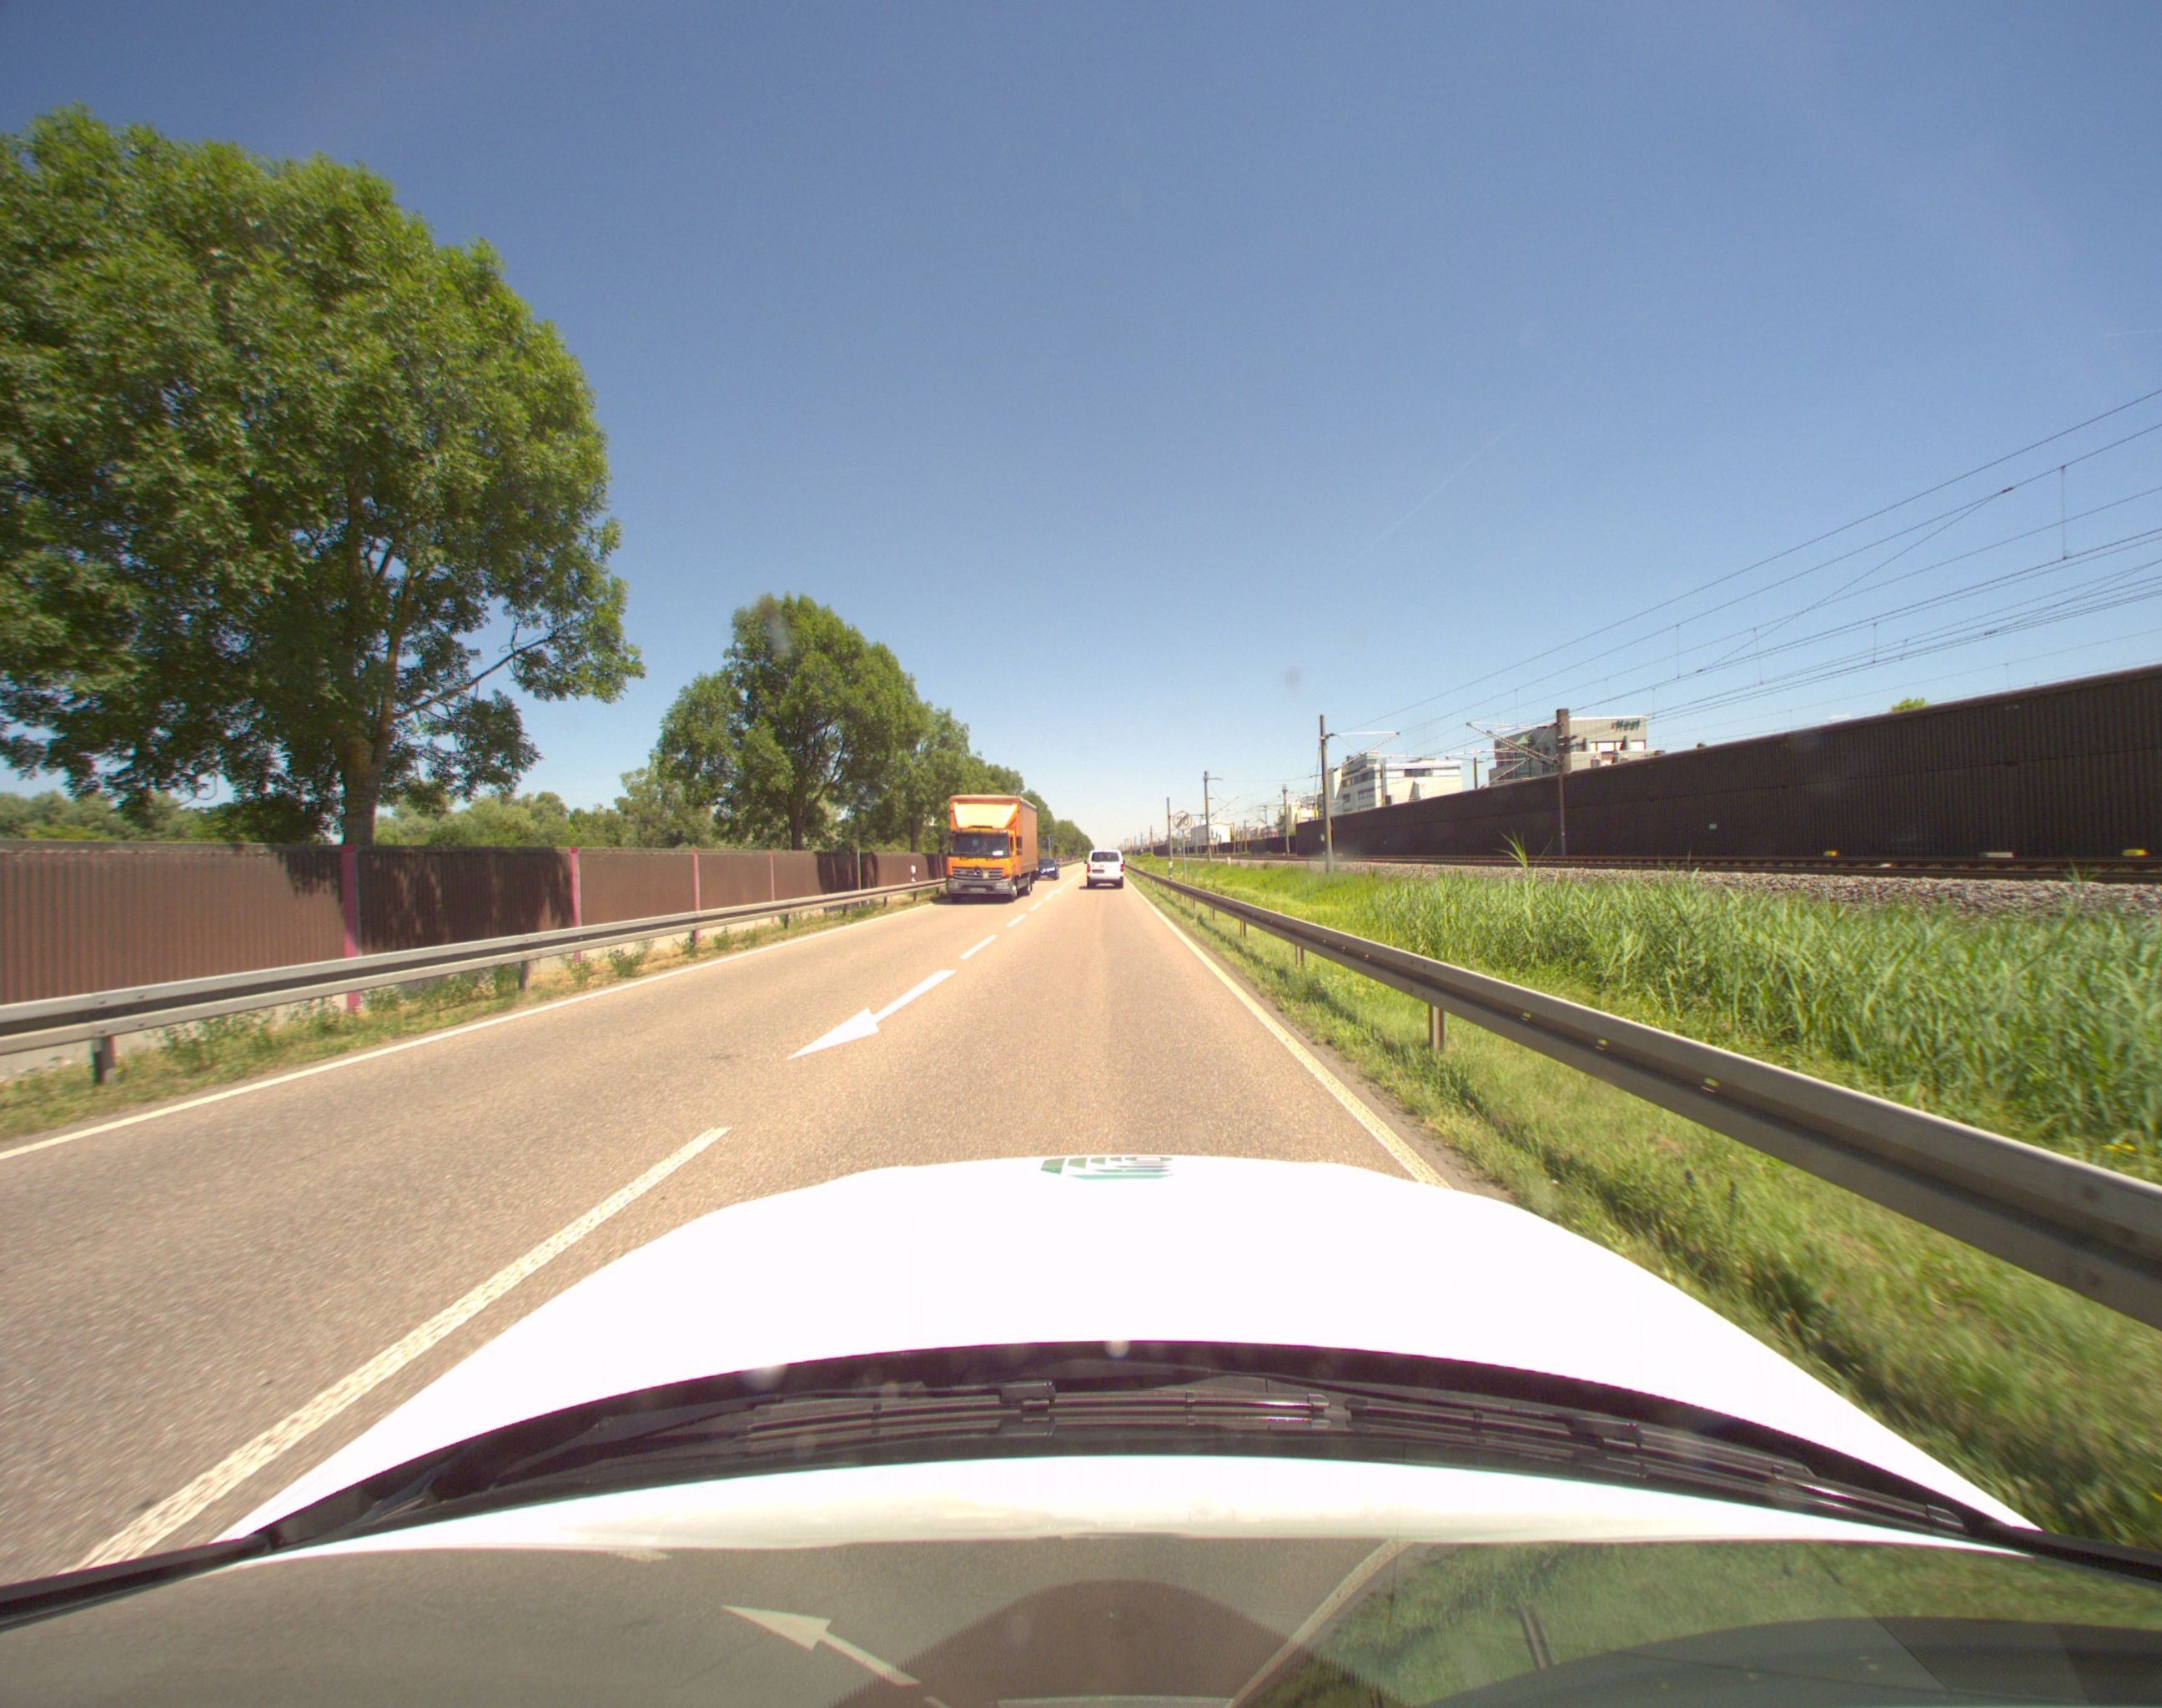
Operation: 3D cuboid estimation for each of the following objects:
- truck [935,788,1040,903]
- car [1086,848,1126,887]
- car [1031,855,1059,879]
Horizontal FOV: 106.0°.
[{"bbox_3d":[-3.414,-0.261,32.351,2.782,3.840,9.327,-1,0,2],"label":"truck"},{"bbox_3d":[1.283,0.687,41.986,1.938,1.881,4.882,-1,-1,2],"label":"car"},{"bbox_3d":[-2.507,0.892,57.036,1.616,1.577,3.765,-1,0,2],"label":"car"}]
